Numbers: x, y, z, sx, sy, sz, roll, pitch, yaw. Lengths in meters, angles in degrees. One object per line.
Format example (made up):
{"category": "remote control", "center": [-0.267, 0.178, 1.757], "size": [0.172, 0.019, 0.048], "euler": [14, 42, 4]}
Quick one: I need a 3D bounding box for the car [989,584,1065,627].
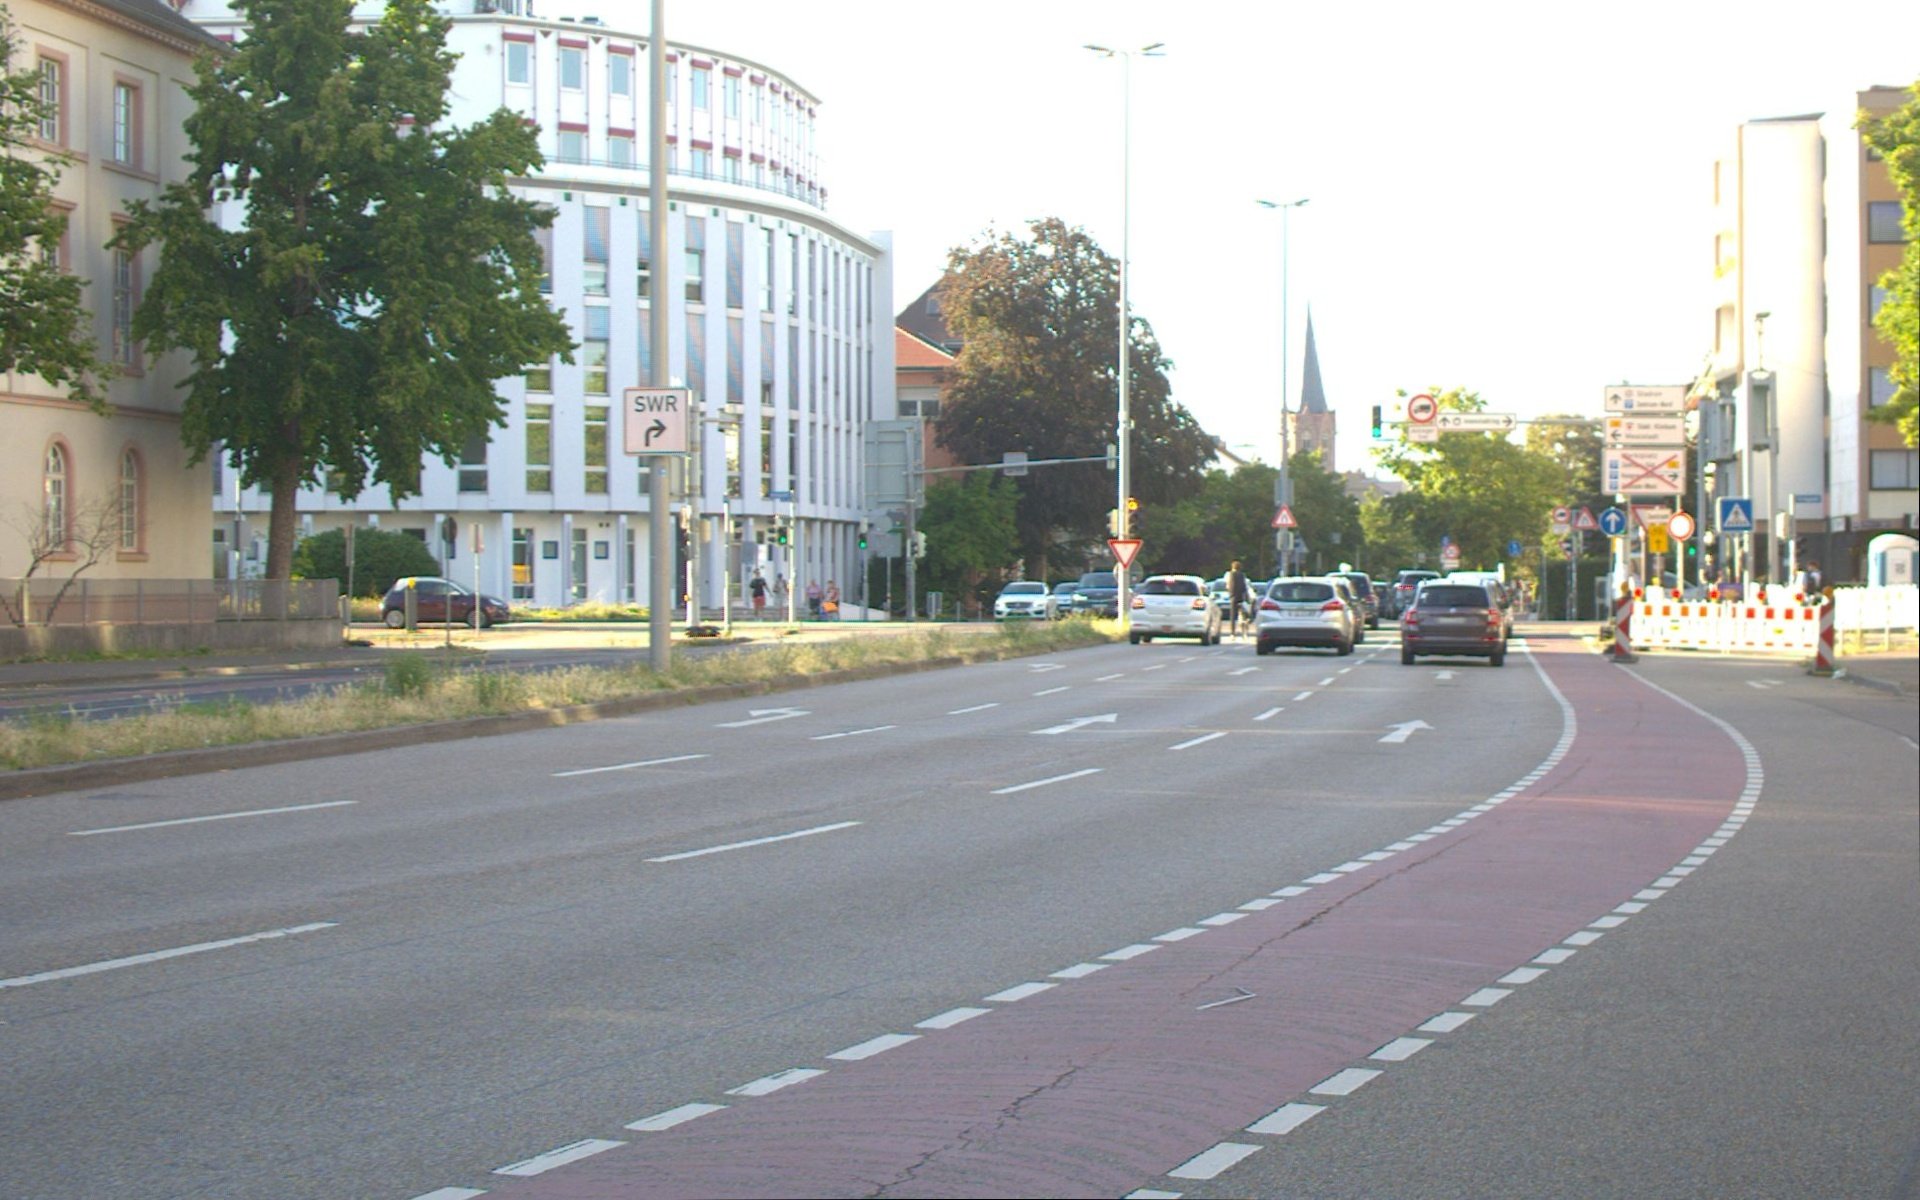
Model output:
{"category": "car", "center": [2.327, 0.169, 118.800], "size": [1.994, 1.408, 4.441], "euler": [-1, 0, 9]}

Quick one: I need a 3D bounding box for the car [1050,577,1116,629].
{"category": "car", "center": [4.668, 0.120, 129.939], "size": [1.842, 1.810, 3.998], "euler": [-2, -2, 11]}

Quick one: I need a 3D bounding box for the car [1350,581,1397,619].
{"category": "car", "center": [15.419, -0.011, 128.031], "size": [1.589, 1.422, 3.821], "euler": [0, 0, 9]}

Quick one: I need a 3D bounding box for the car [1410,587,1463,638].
{"category": "car", "center": [15.719, 0.387, 113.308], "size": [1.665, 1.652, 3.998], "euler": [0, 0, 9]}

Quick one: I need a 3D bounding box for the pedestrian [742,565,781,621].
{"category": "pedestrian", "center": [-7.207, -0.258, 124.724], "size": [1.093, 2.007, 1.034], "euler": [0, 0, 19]}

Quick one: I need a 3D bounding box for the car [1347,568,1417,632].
{"category": "car", "center": [11.167, 0.004, 90.822], "size": [1.665, 1.652, 3.998], "euler": [0, 0, 9]}

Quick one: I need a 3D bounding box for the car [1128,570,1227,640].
{"category": "car", "center": [4.747, 0.086, 74.609], "size": [1.685, 1.452, 3.998], "euler": [1, 1, 10]}

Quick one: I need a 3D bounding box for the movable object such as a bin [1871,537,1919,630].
{"category": "movable object such as a bin", "center": [25.058, -0.423, 87.743], "size": [3.329, 2.375, 1.528], "euler": [0, 0, 8]}

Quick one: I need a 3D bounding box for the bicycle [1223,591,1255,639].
{"category": "bicycle", "center": [6.453, 0.337, 79.469], "size": [0.700, 1.096, 2.257], "euler": [0, 0, 6]}

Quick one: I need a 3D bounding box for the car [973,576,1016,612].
{"category": "car", "center": [1.516, -0.287, 151.730], "size": [1.841, 1.566, 4.000], "euler": [0, 0, 1]}

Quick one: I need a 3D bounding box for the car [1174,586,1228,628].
{"category": "car", "center": [8.741, 0.243, 124.588], "size": [1.848, 1.456, 4.049], "euler": [0, 0, 6]}

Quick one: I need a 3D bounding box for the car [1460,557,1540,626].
{"category": "car", "center": [13.083, -0.215, 83.435], "size": [1.820, 1.634, 3.999], "euler": [0, 0, 7]}

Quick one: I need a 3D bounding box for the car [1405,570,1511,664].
{"category": "car", "center": [8.579, 0.268, 59.088], "size": [1.749, 1.559, 4.048], "euler": [0, 0, 9]}

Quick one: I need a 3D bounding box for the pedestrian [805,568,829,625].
{"category": "pedestrian", "center": [-4.675, -0.112, 112.681], "size": [0.660, 1.862, 0.778], "euler": [0, 0, 7]}

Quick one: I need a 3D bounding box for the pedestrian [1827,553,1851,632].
{"category": "pedestrian", "center": [20.793, -0.181, 81.327], "size": [0.521, 1.862, 0.614], "euler": [0, 0, 18]}

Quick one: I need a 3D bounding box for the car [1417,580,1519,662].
{"category": "car", "center": [9.864, 0.430, 66.551], "size": [1.756, 1.485, 3.721], "euler": [-2, -2, 11]}

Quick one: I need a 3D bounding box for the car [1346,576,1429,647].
{"category": "car", "center": [9.654, 0.236, 77.469], "size": [1.749, 1.559, 4.048], "euler": [0, 0, 9]}

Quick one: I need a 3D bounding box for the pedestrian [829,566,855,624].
{"category": "pedestrian", "center": [-3.858, -0.167, 112.424], "size": [0.627, 1.862, 1.127], "euler": [0, 0, 10]}

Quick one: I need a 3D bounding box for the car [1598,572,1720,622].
{"category": "car", "center": [26.434, -0.125, 130.091], "size": [4.365, 1.871, 1.999], "euler": [0, 0, 7]}

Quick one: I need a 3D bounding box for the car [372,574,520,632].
{"category": "car", "center": [-14.644, 0.093, 98.043], "size": [3.809, 1.525, 1.862], "euler": [-1, -2, 5]}

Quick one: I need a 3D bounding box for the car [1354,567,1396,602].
{"category": "car", "center": [17.141, -0.629, 141.827], "size": [1.589, 1.422, 3.821], "euler": [0, 0, 9]}

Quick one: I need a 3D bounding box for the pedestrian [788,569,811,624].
{"category": "pedestrian", "center": [-5.324, -0.116, 114.160], "size": [0.758, 1.836, 0.818], "euler": [0, 0, -1]}

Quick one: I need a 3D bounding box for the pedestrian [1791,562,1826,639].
{"category": "pedestrian", "center": [19.940, 0.006, 80.792], "size": [0.741, 1.793, 0.715], "euler": [0, 0, 11]}

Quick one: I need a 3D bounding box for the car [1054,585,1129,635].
{"category": "car", "center": [4.306, 0.299, 111.801], "size": [1.994, 1.573, 4.898], "euler": [0, 0, 8]}

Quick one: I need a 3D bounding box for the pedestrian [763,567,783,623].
{"category": "pedestrian", "center": [-6.206, -0.155, 114.202], "size": [0.660, 1.852, 0.778], "euler": [0, 0, -4]}

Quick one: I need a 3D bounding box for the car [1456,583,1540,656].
{"category": "car", "center": [11.992, 0.419, 76.510], "size": [1.729, 1.573, 3.721], "euler": [0, 0, 11]}

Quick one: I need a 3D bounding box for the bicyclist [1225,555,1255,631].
{"category": "bicyclist", "center": [6.462, -0.161, 79.318], "size": [0.691, 1.722, 0.988], "euler": [0, 0, 5]}

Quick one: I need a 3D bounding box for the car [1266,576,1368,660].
{"category": "car", "center": [6.898, 0.328, 66.109], "size": [1.749, 1.559, 4.048], "euler": [0, 0, 9]}
